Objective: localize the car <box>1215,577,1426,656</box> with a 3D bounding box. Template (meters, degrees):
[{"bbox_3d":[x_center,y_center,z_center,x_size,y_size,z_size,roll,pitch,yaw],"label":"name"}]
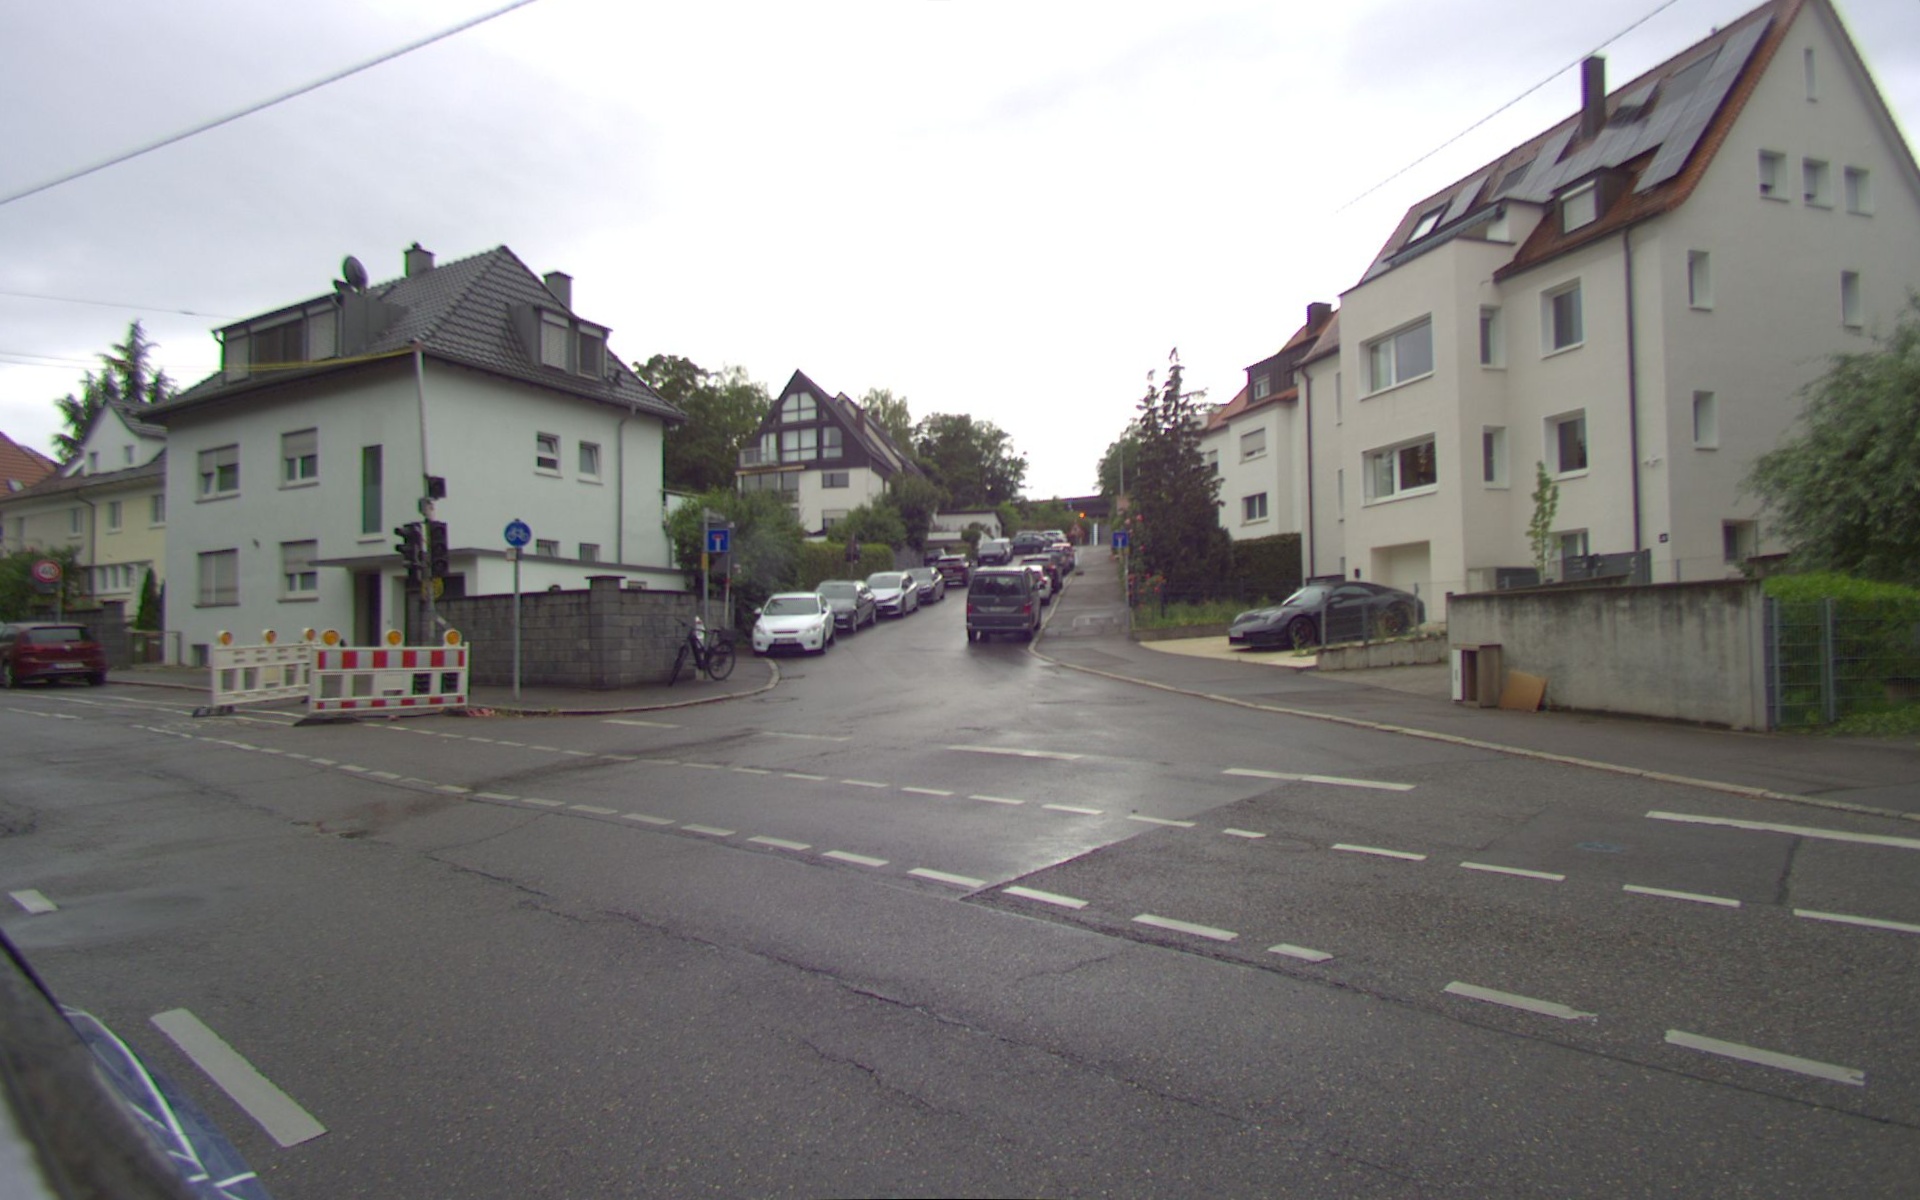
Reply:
[{"bbox_3d":[7.712,0.329,21.765,3.942,1.290,1.613,-5,1,-13],"label":"car"}]

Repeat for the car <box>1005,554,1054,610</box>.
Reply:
[{"bbox_3d":[2.824,-0.759,40.317,1.686,1.843,4.194,-1,6,7],"label":"car"}]

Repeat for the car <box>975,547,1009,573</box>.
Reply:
[{"bbox_3d":[2.198,-2.678,68.879,1.770,1.531,4.016,-1,0,9],"label":"car"}]

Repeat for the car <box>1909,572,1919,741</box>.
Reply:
[{"bbox_3d":[10.611,0.419,8.542,3.934,1.497,1.780,-2,-1,-12],"label":"car"}]

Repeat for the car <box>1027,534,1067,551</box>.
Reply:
[{"bbox_3d":[8.939,-5.911,103.907,3.782,1.529,1.664,-1,0,15],"label":"car"}]

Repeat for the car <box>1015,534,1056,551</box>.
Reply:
[{"bbox_3d":[7.392,-5.600,98.782,3.922,1.528,1.748,-1,0,6],"label":"car"}]

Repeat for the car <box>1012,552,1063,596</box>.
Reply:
[{"bbox_3d":[3.525,-1.199,45.369,1.823,1.699,4.039,-1,5,11],"label":"car"}]

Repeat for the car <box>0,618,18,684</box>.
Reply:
[{"bbox_3d":[-26.148,1.317,25.766,4.131,1.653,1.782,-1,-1,25],"label":"car"}]

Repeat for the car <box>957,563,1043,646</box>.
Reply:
[{"bbox_3d":[1.247,0.046,29.318,1.978,2.028,4.482,-1,4,9],"label":"car"}]

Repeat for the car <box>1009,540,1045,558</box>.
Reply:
[{"bbox_3d":[5.555,-4.208,83.647,2.914,1.328,1.282,-1,0,4],"label":"car"}]

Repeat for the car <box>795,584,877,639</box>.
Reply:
[{"bbox_3d":[-3.822,0.315,31.811,1.702,1.397,3.900,-1,4,6],"label":"car"}]

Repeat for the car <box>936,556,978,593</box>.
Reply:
[{"bbox_3d":[-0.111,-1.369,52.458,1.623,1.637,3.992,-1,5,8],"label":"car"}]

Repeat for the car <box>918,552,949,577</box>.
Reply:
[{"bbox_3d":[-1.824,-2.426,69.786,1.793,1.566,4.009,-1,0,3],"label":"car"}]

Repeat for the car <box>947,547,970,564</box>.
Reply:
[{"bbox_3d":[-0.080,-3.267,74.014,1.559,1.220,3.650,-1,3,2],"label":"car"}]

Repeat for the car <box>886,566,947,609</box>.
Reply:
[{"bbox_3d":[-1.803,-0.558,42.952,1.903,1.448,4.100,-1,5,7],"label":"car"}]

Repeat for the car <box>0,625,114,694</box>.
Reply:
[{"bbox_3d":[-21.463,1.333,23.374,3.833,1.443,1.768,-1,-1,30],"label":"car"}]

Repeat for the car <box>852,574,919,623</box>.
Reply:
[{"bbox_3d":[-2.653,-0.089,37.080,1.738,1.481,3.940,-1,4,6],"label":"car"}]

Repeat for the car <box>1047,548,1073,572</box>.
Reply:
[{"bbox_3d":[6.240,-2.455,62.841,1.488,1.373,3.465,-1,0,8],"label":"car"}]

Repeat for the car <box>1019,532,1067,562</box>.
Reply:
[{"bbox_3d":[7.204,-4.572,87.636,3.954,2.028,1.995,-5,-1,8],"label":"car"}]

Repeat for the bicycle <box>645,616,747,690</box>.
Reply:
[{"bbox_3d":[-4.780,0.929,18.450,0.508,1.249,1.984,1,0,32],"label":"bicycle"}]

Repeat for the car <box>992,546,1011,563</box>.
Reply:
[{"bbox_3d":[3.060,-3.335,74.704,1.292,1.206,2.980,-1,3,5],"label":"car"}]

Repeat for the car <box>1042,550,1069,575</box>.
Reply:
[{"bbox_3d":[5.506,-2.150,58.105,1.274,1.325,2.984,-1,3,10],"label":"car"}]

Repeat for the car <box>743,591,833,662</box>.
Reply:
[{"bbox_3d":[-4.349,0.621,26.149,1.827,1.473,4.124,-1,3,-3],"label":"car"}]
